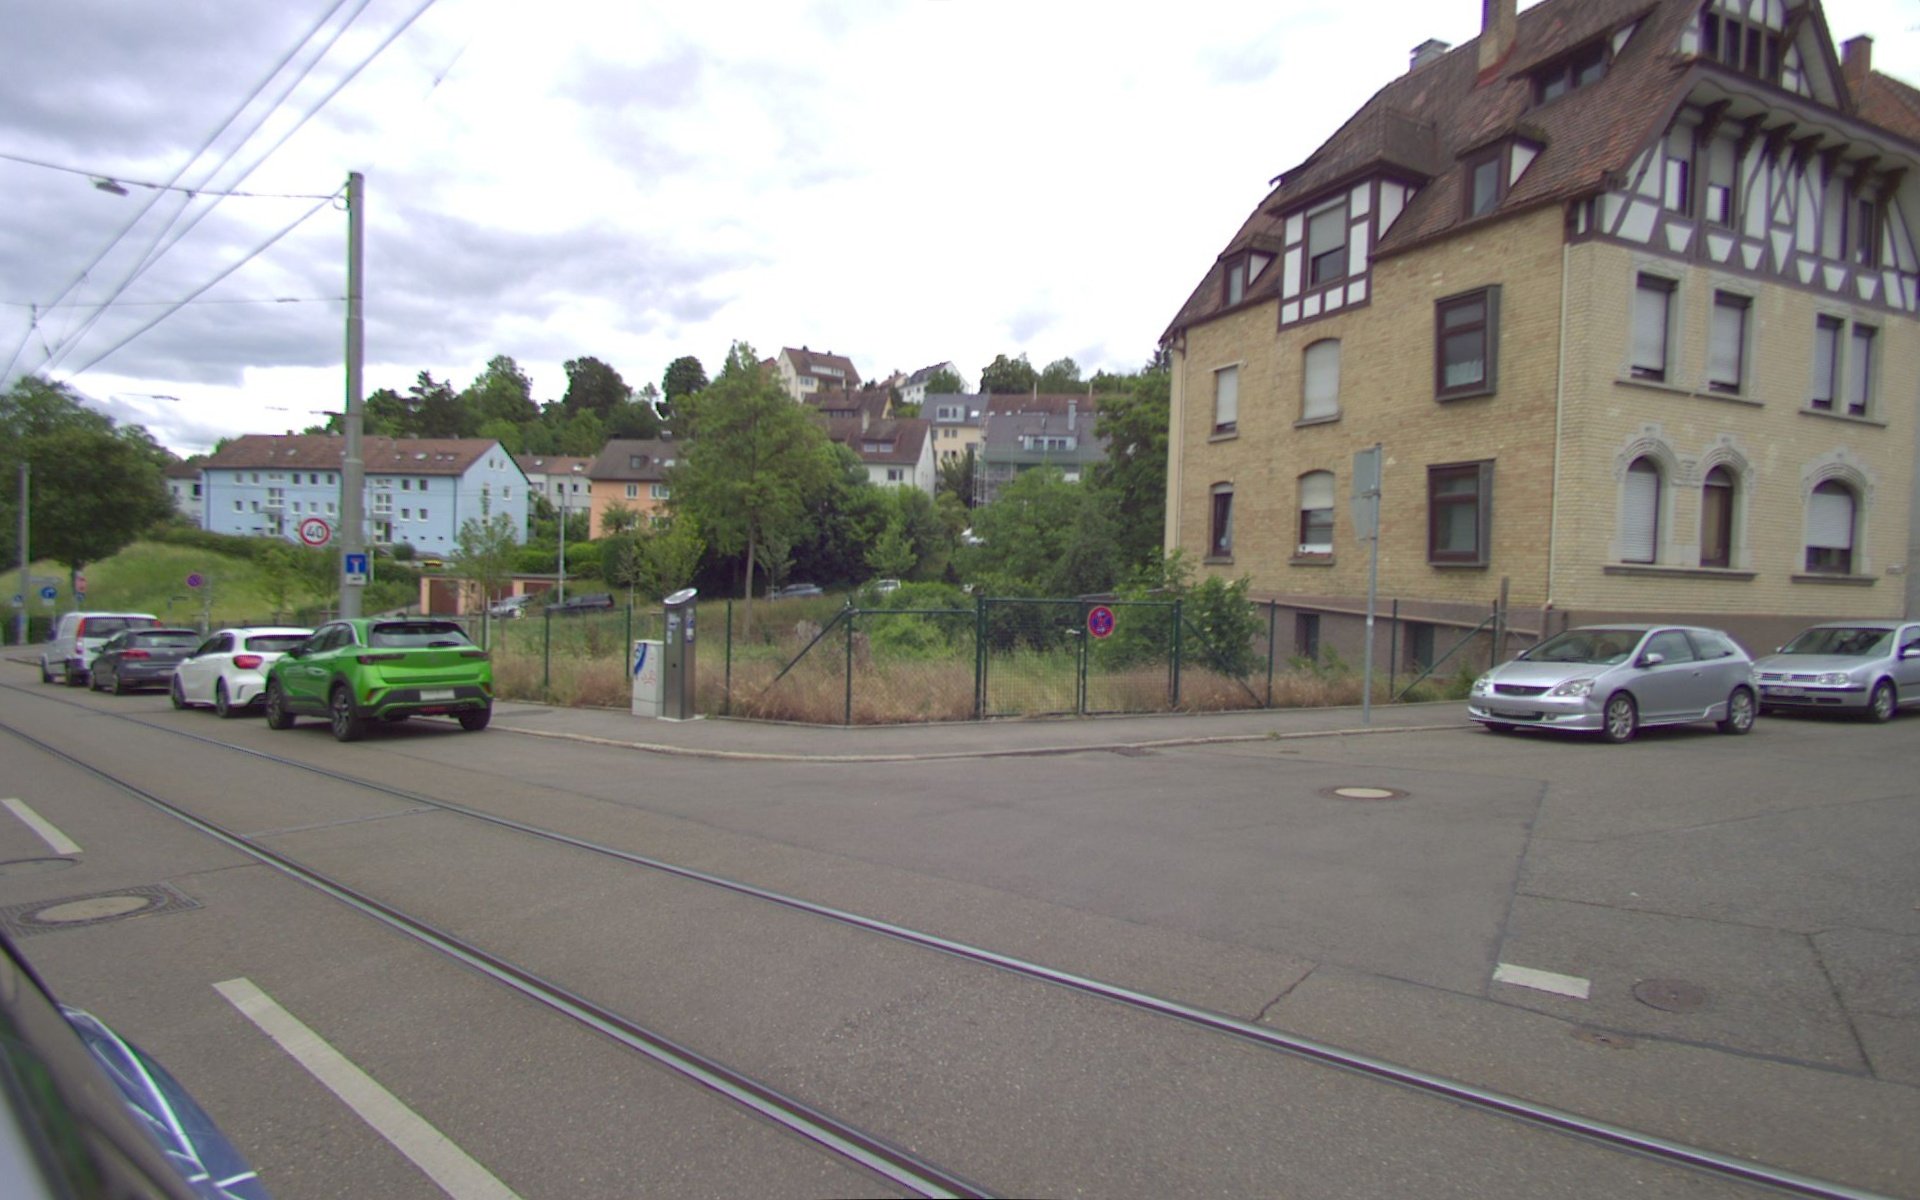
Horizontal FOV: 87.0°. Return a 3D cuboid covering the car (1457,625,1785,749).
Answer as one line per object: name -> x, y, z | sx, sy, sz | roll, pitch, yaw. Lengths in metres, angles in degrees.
car -> 8.518, 1.024, 13.029 | 3.944, 1.388, 1.701 | 1, -1, -25

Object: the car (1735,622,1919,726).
car -> 13.793, 1.031, 15.236 | 3.979, 1.388, 1.701 | 1, -1, -25

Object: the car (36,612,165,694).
car -> -22.511, 1.351, 26.465 | 4.288, 1.961, 1.877 | -1, -3, 41

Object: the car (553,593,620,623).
car -> -24.827, 0.510, 67.409 | 3.935, 1.918, 2.004 | -1, -1, -10

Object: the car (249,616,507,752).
car -> -7.935, 1.022, 13.652 | 3.946, 1.552, 1.832 | -2, -2, 41

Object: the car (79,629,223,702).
car -> -18.453, 1.438, 23.034 | 3.946, 1.505, 1.832 | -1, -3, 41

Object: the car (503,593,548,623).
car -> -29.128, 0.566, 67.973 | 1.967, 1.918, 4.009 | -1, -1, -10

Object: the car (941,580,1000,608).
car -> 0.734, -0.401, 72.897 | 3.935, 1.918, 2.004 | -1, -1, -10

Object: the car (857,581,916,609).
car -> -5.190, -0.323, 71.527 | 3.935, 1.918, 2.004 | -1, -1, -10

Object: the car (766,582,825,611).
car -> -11.419, -0.241, 70.119 | 3.935, 1.918, 2.004 | -1, -1, -10

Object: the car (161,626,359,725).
car -> -12.041, 1.209, 17.328 | 3.946, 1.505, 1.832 | -1, -3, 41
